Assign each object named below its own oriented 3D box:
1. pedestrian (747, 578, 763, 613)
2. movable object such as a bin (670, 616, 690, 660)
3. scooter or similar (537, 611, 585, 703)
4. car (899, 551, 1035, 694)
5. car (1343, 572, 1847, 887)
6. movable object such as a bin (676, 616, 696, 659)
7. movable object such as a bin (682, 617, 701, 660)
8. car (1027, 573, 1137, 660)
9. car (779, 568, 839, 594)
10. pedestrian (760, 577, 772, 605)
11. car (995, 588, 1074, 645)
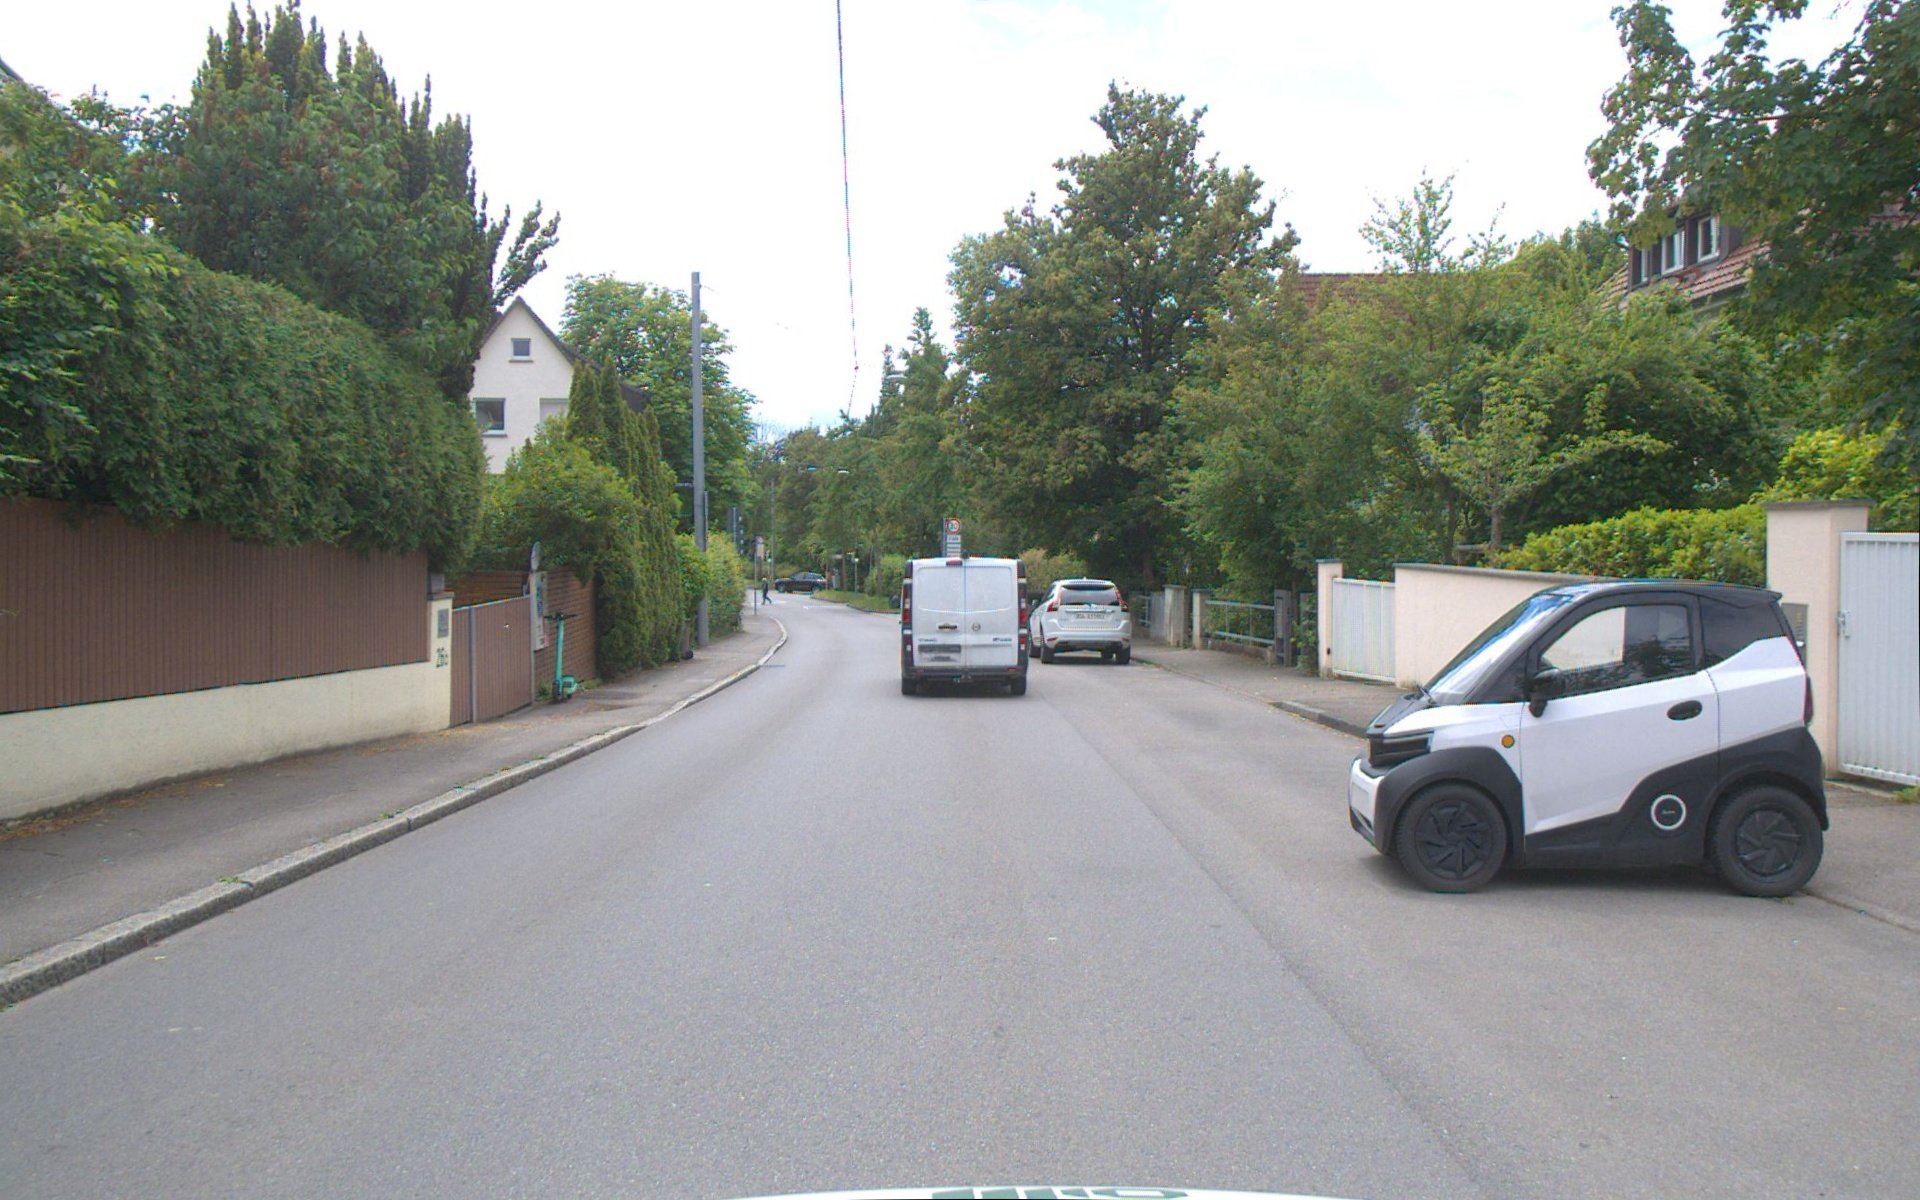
[{"bbox_3d":[-9.815,-0.202,79.085,0.692,1.638,0.576,-1,0,-2],"label":"pedestrian"},{"bbox_3d":[-5.880,0.798,34.735,0.329,0.909,0.476,1,0,0],"label":"movable object such as a bin"},{"bbox_3d":[-5.413,0.759,22.480,0.383,1.191,1.270,0,0,-2],"label":"scooter or similar"},{"bbox_3d":[0.029,0.268,25.228,1.891,1.998,4.401,0,1,-2],"label":"car"},{"bbox_3d":[3.307,0.641,8.901,2.239,1.550,1.319,-1,1,4],"label":"car"},{"bbox_3d":[-5.837,0.801,35.268,0.329,0.909,0.476,1,0,0],"label":"movable object such as a bin"},{"bbox_3d":[-5.837,0.835,35.970,0.329,0.909,0.476,1,0,0],"label":"movable object such as a bin"},{"bbox_3d":[2.501,0.307,34.894,1.828,1.714,4.348,0,0,-3],"label":"car"},{"bbox_3d":[-11.458,-1.444,125.764,4.311,1.892,1.898,1,1,33],"label":"car"},{"bbox_3d":[-11.646,-0.534,99.359,0.684,1.644,0.714,0,2,-7],"label":"pedestrian"},{"bbox_3d":[2.023,0.430,45.904,1.676,1.513,3.786,0,0,-6],"label":"car"}]
